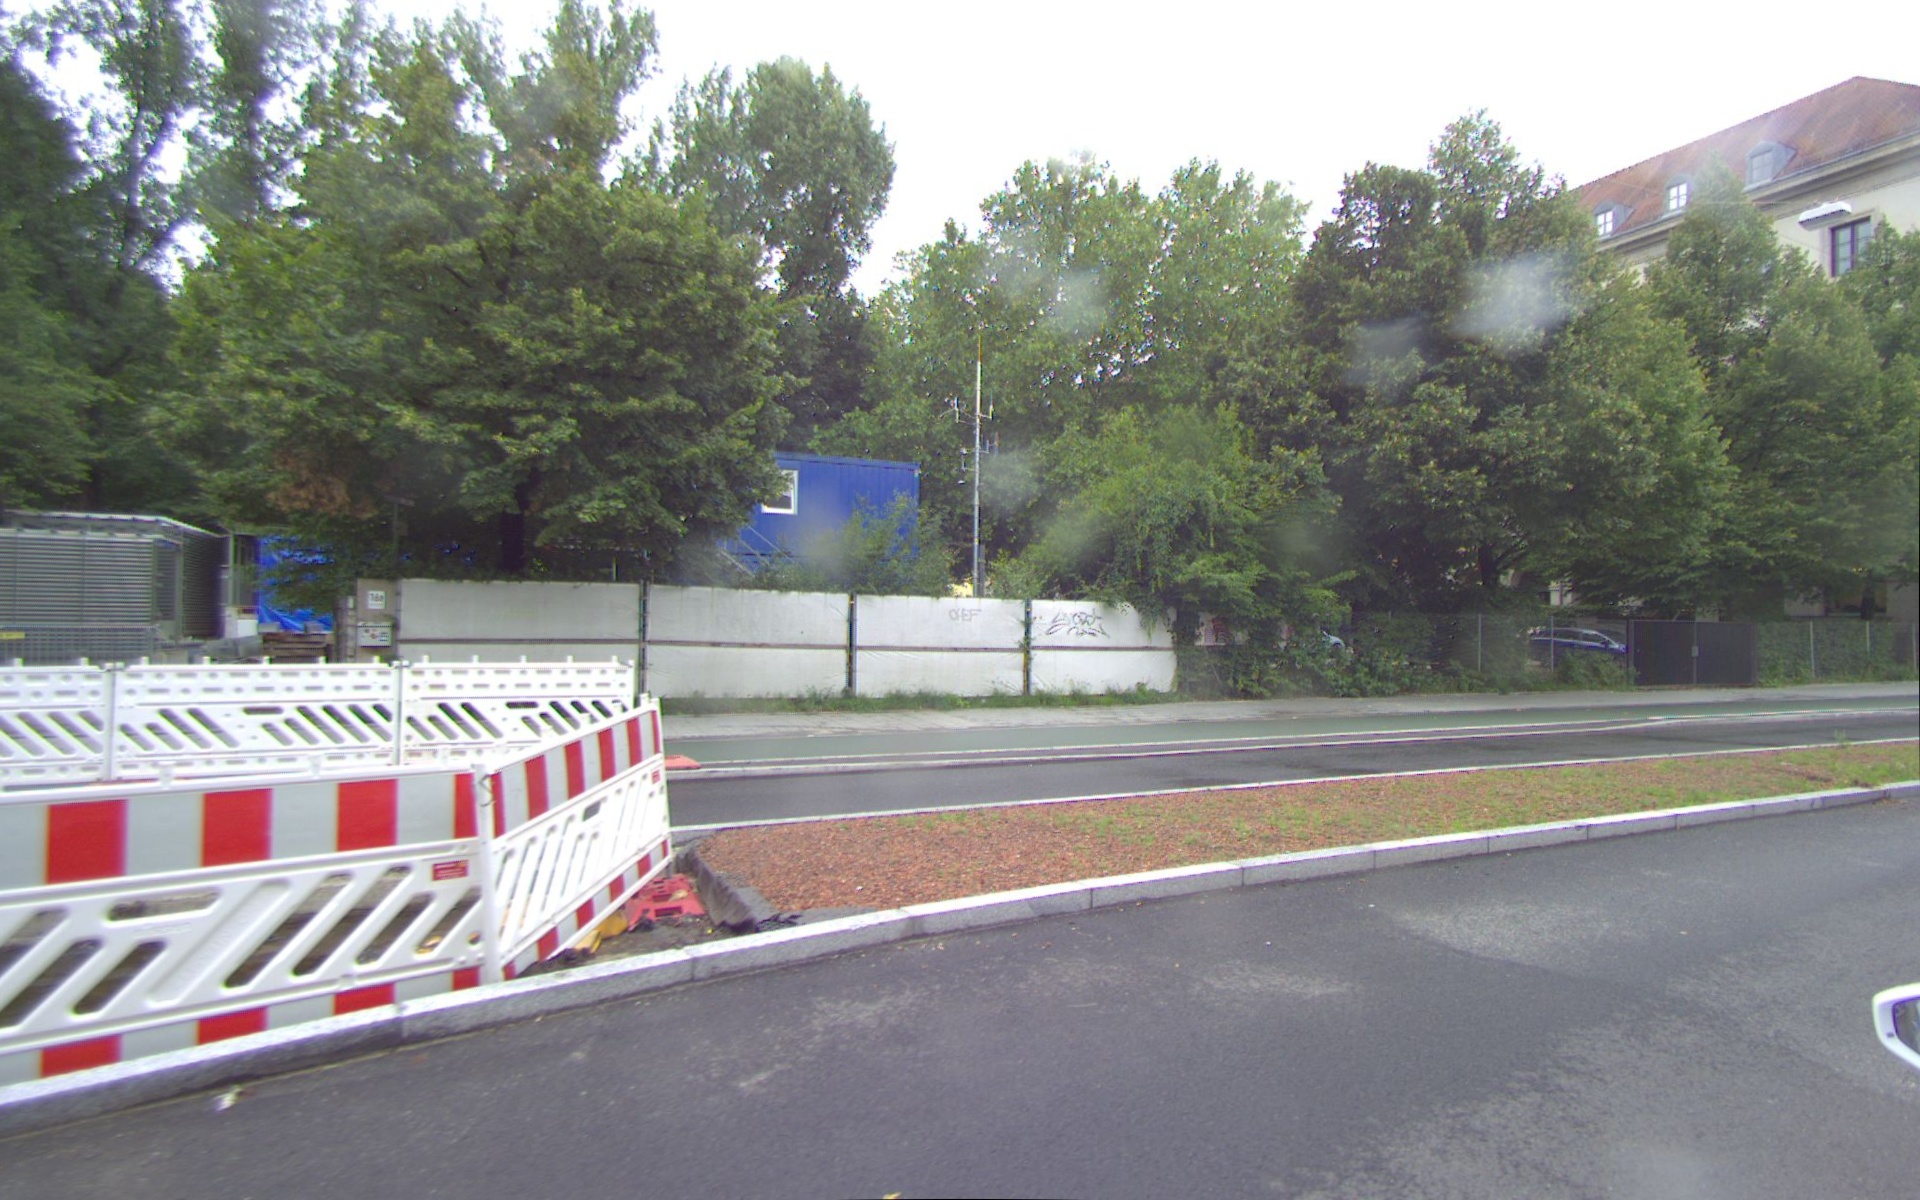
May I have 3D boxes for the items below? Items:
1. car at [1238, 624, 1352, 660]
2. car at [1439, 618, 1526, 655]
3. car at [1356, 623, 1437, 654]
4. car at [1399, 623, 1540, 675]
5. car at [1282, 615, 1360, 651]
[{"bbox_3d":[14.347,1.803,42.990,4.571,1.460,1.987,1,-1,-26],"label":"car"},{"bbox_3d":[24.889,1.735,47.816,3.946,1.662,1.660,1,-1,-26],"label":"car"},{"bbox_3d":[22.767,1.993,52.354,3.947,1.564,1.765,1,-1,-26],"label":"car"},{"bbox_3d":[16.662,1.567,33.077,1.776,1.610,4.144,1,-2,-18],"label":"car"},{"bbox_3d":[20.452,1.866,56.906,3.942,1.954,1.841,1,-1,-22],"label":"car"}]
